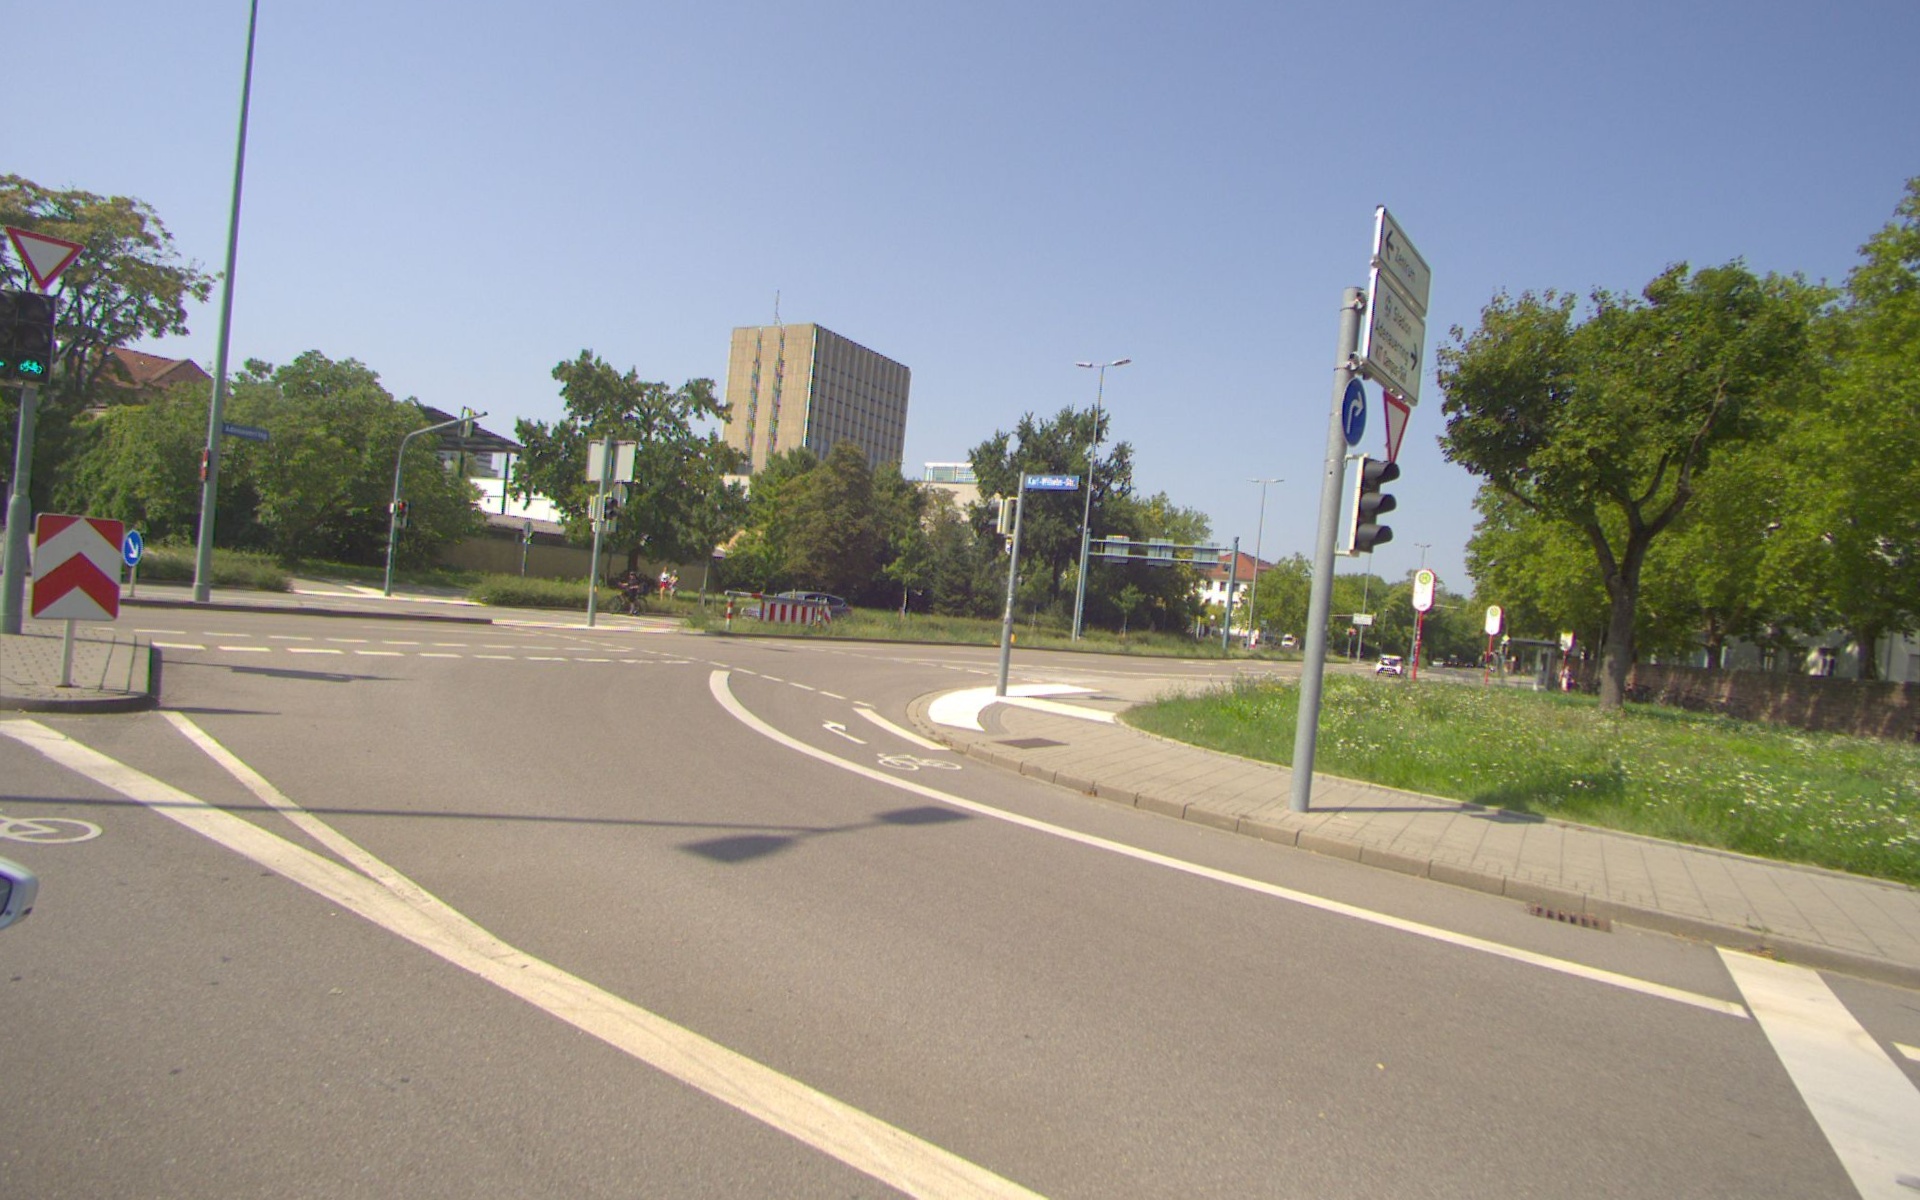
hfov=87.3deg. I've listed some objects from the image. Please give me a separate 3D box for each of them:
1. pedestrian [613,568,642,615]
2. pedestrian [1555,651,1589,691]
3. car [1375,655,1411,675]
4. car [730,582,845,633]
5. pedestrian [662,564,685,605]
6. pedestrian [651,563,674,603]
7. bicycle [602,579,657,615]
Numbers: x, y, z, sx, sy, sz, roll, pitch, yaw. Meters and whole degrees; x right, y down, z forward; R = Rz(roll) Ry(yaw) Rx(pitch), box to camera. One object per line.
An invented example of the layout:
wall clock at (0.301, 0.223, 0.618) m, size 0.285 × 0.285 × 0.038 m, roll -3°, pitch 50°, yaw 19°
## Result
pedestrian at (-12.663, -0.336, 38.295) m, size 0.769 × 1.690 × 0.547 m, roll 7°, pitch 1°, yaw 36°
pedestrian at (33.385, 3.869, 54.917) m, size 1.052 × 2.040 × 1.234 m, roll 6°, pitch 1°, yaw 13°
car at (30.227, 4.533, 70.232) m, size 1.566 × 1.151 × 3.252 m, roll 7°, pitch 1°, yaw 35°
car at (-5.631, 0.266, 33.085) m, size 1.764 × 1.374 × 3.413 m, roll 4°, pitch -1°, yaw 35°
pedestrian at (-13.262, -0.704, 46.541) m, size 0.683 × 1.794 × 0.585 m, roll 7°, pitch 1°, yaw 37°
pedestrian at (-13.876, -0.784, 46.902) m, size 0.683 × 1.794 × 0.585 m, roll 7°, pitch 1°, yaw 37°
bicycle at (-12.602, -0.106, 38.412) m, size 0.774 × 1.228 × 1.783 m, roll 6°, pitch 1°, yaw 36°
